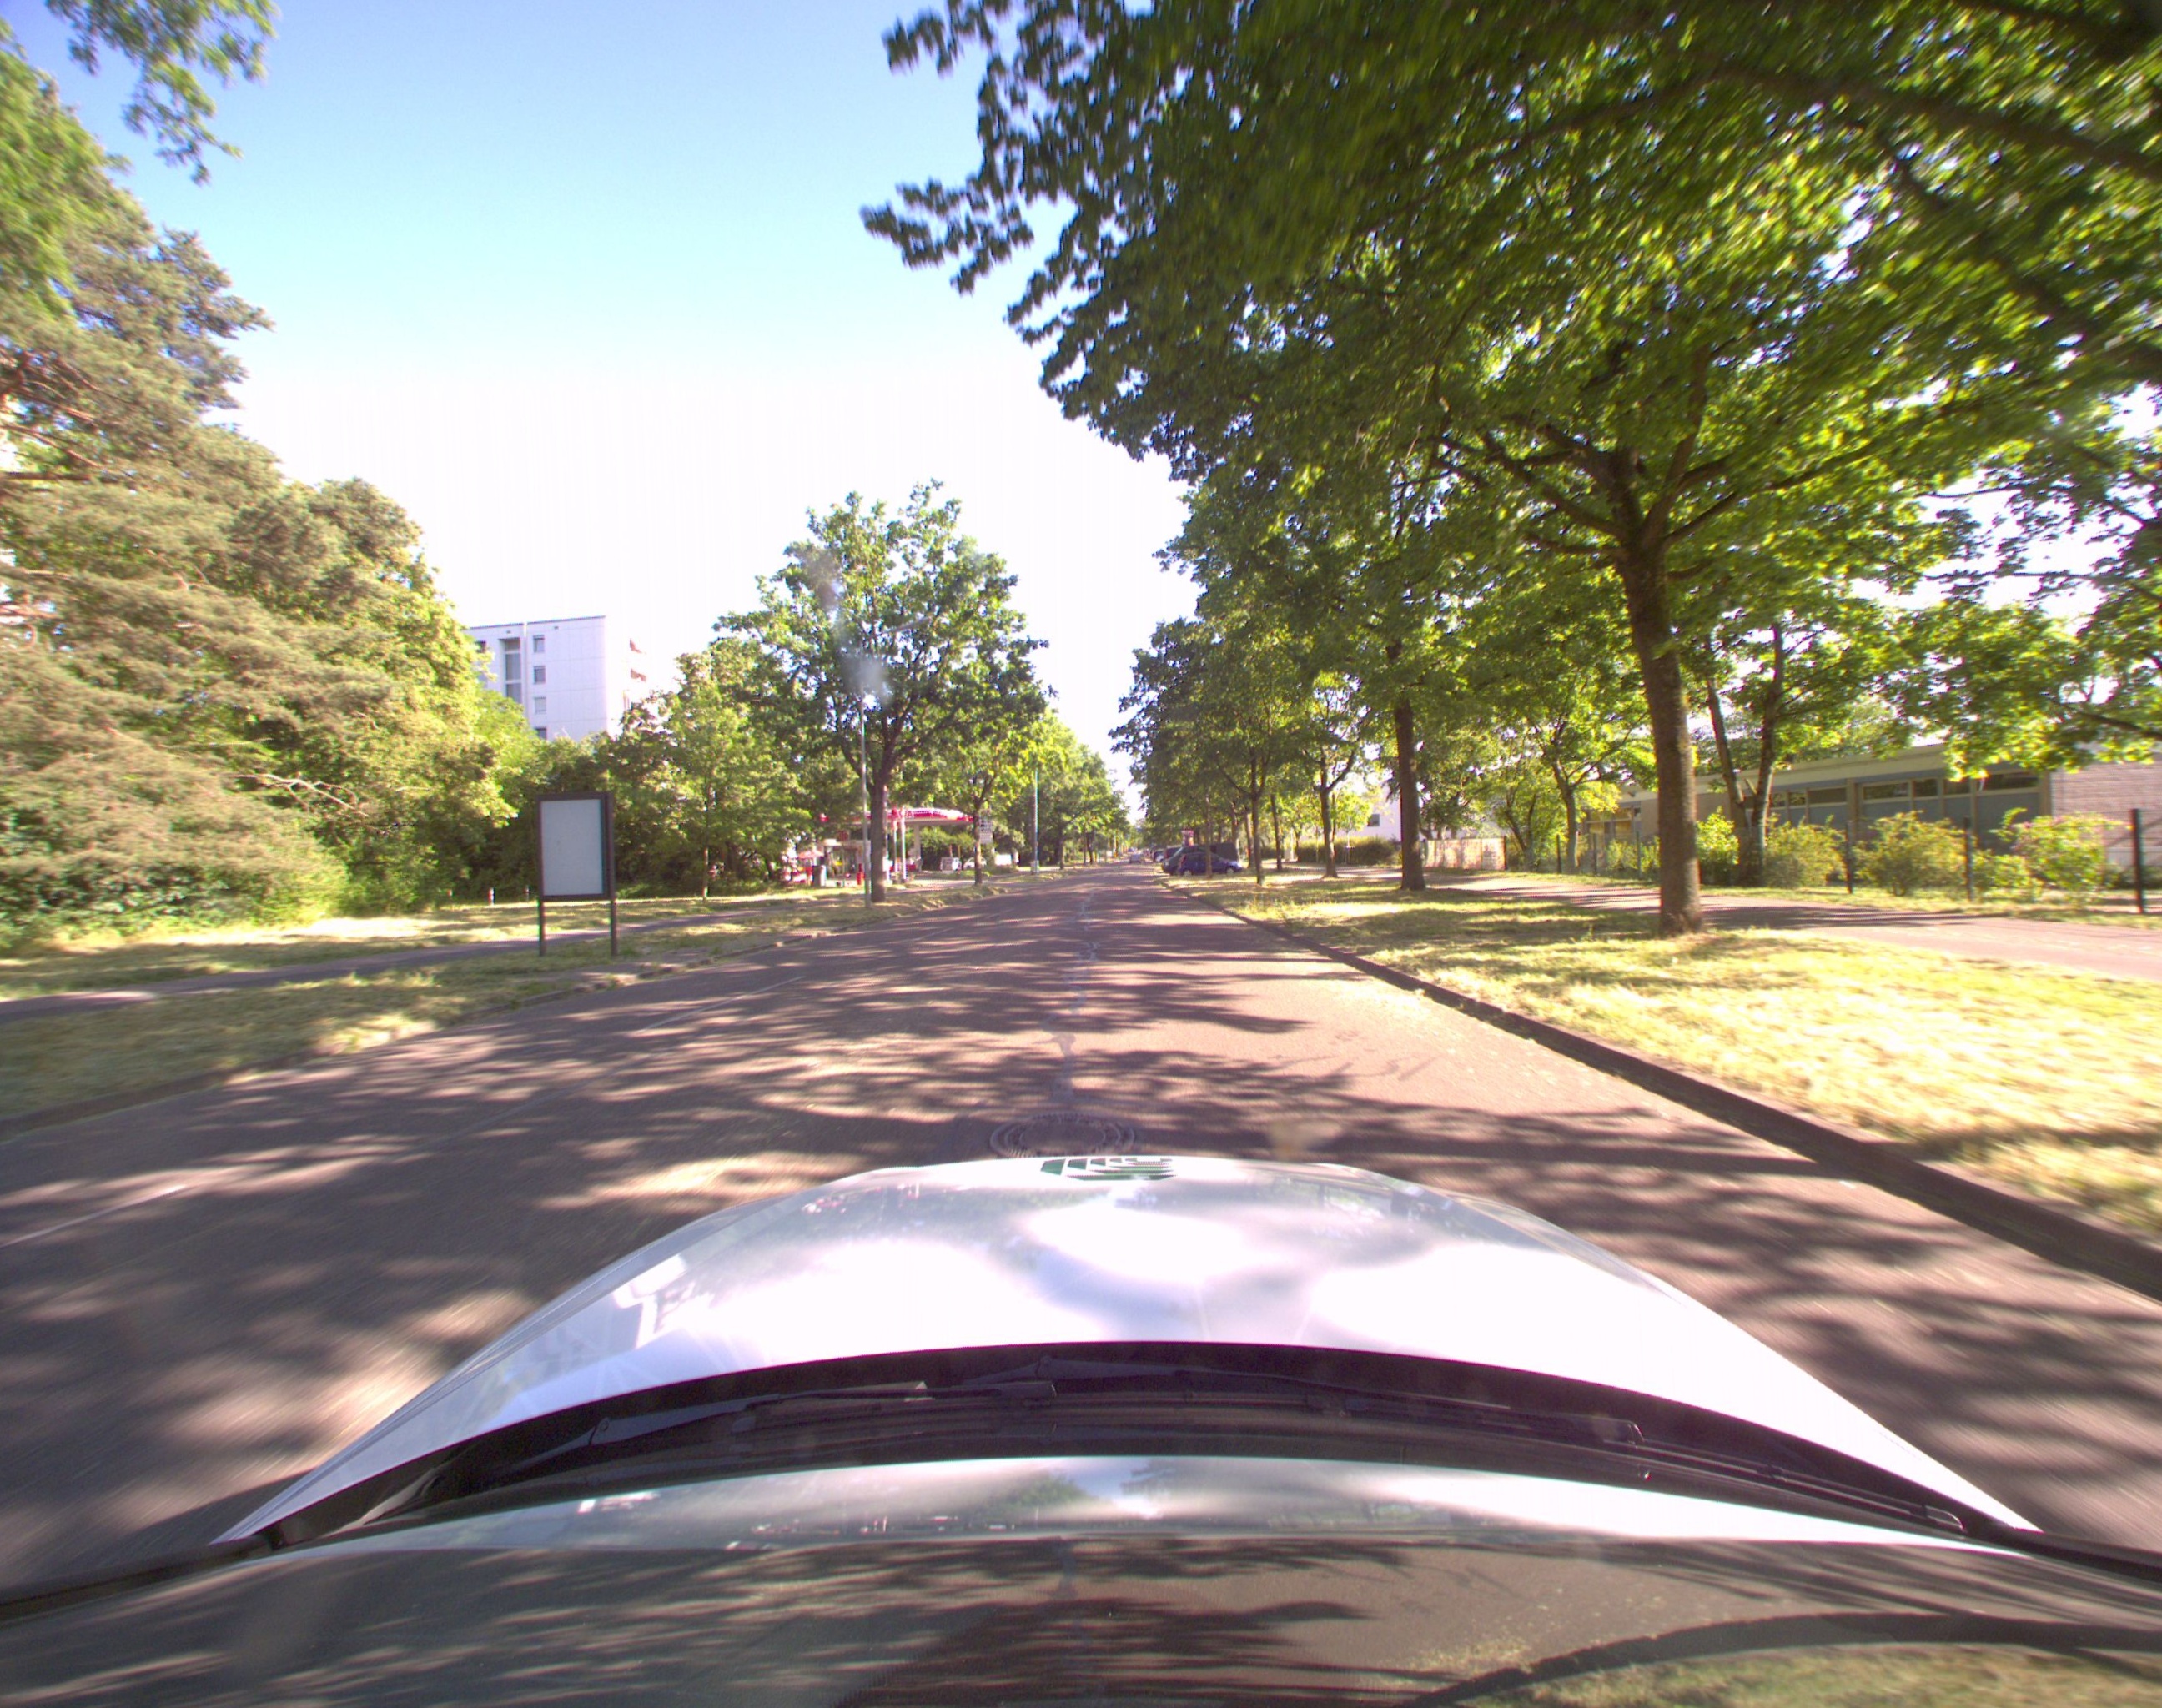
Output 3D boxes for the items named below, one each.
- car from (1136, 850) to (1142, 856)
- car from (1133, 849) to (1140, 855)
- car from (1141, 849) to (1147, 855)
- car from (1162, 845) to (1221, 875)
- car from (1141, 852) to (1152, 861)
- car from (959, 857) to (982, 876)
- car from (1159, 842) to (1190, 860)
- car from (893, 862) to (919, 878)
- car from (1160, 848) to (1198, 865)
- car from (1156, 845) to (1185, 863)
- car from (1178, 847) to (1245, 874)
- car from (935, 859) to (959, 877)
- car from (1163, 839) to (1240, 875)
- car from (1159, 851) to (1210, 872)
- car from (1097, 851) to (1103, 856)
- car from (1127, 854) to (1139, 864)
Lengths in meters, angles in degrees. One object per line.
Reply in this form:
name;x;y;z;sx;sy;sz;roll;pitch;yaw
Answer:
car;16.311;-0.300;228.866;1.654;1.337;3.667;-3;-1;3
car;14.007;-0.408;206.509;1.654;1.337;3.667;-3;-1;3
car;18.691;-0.594;243.072;1.728;1.337;3.667;-3;-1;3
car;7.076;0.401;52.425;3.638;1.797;1.318;-3;-2;3
car;11.396;0.439;141.672;1.654;1.337;3.667;-3;-1;3
car;-11.757;1.354;86.885;1.794;1.823;3.806;-3;-1;2
car;11.433;-0.328;99.557;3.552;2.051;1.634;-3;-2;3
car;-19.071;1.729;89.089;1.794;1.621;3.807;-3;-1;2
car;9.683;0.241;80.575;3.638;1.562;1.318;-3;-2;3
car;11.232;0.029;102.211;3.552;2.051;1.577;-3;-2;3
car;7.471;0.396;46.922;3.638;1.398;1.318;-3;-2;3
car;-14.295;1.469;86.987;1.794;1.823;3.806;-3;-1;2
car;7.320;0.203;49.920;4.484;1.953;1.689;-3;-2;3
car;7.683;0.564;60.437;3.638;1.330;1.318;-3;-2;3
car;6.099;-0.208;258.418;1.639;1.426;4.001;-3;-1;2
car;7.754;0.718;121.863;1.654;1.337;3.667;-3;-1;3
